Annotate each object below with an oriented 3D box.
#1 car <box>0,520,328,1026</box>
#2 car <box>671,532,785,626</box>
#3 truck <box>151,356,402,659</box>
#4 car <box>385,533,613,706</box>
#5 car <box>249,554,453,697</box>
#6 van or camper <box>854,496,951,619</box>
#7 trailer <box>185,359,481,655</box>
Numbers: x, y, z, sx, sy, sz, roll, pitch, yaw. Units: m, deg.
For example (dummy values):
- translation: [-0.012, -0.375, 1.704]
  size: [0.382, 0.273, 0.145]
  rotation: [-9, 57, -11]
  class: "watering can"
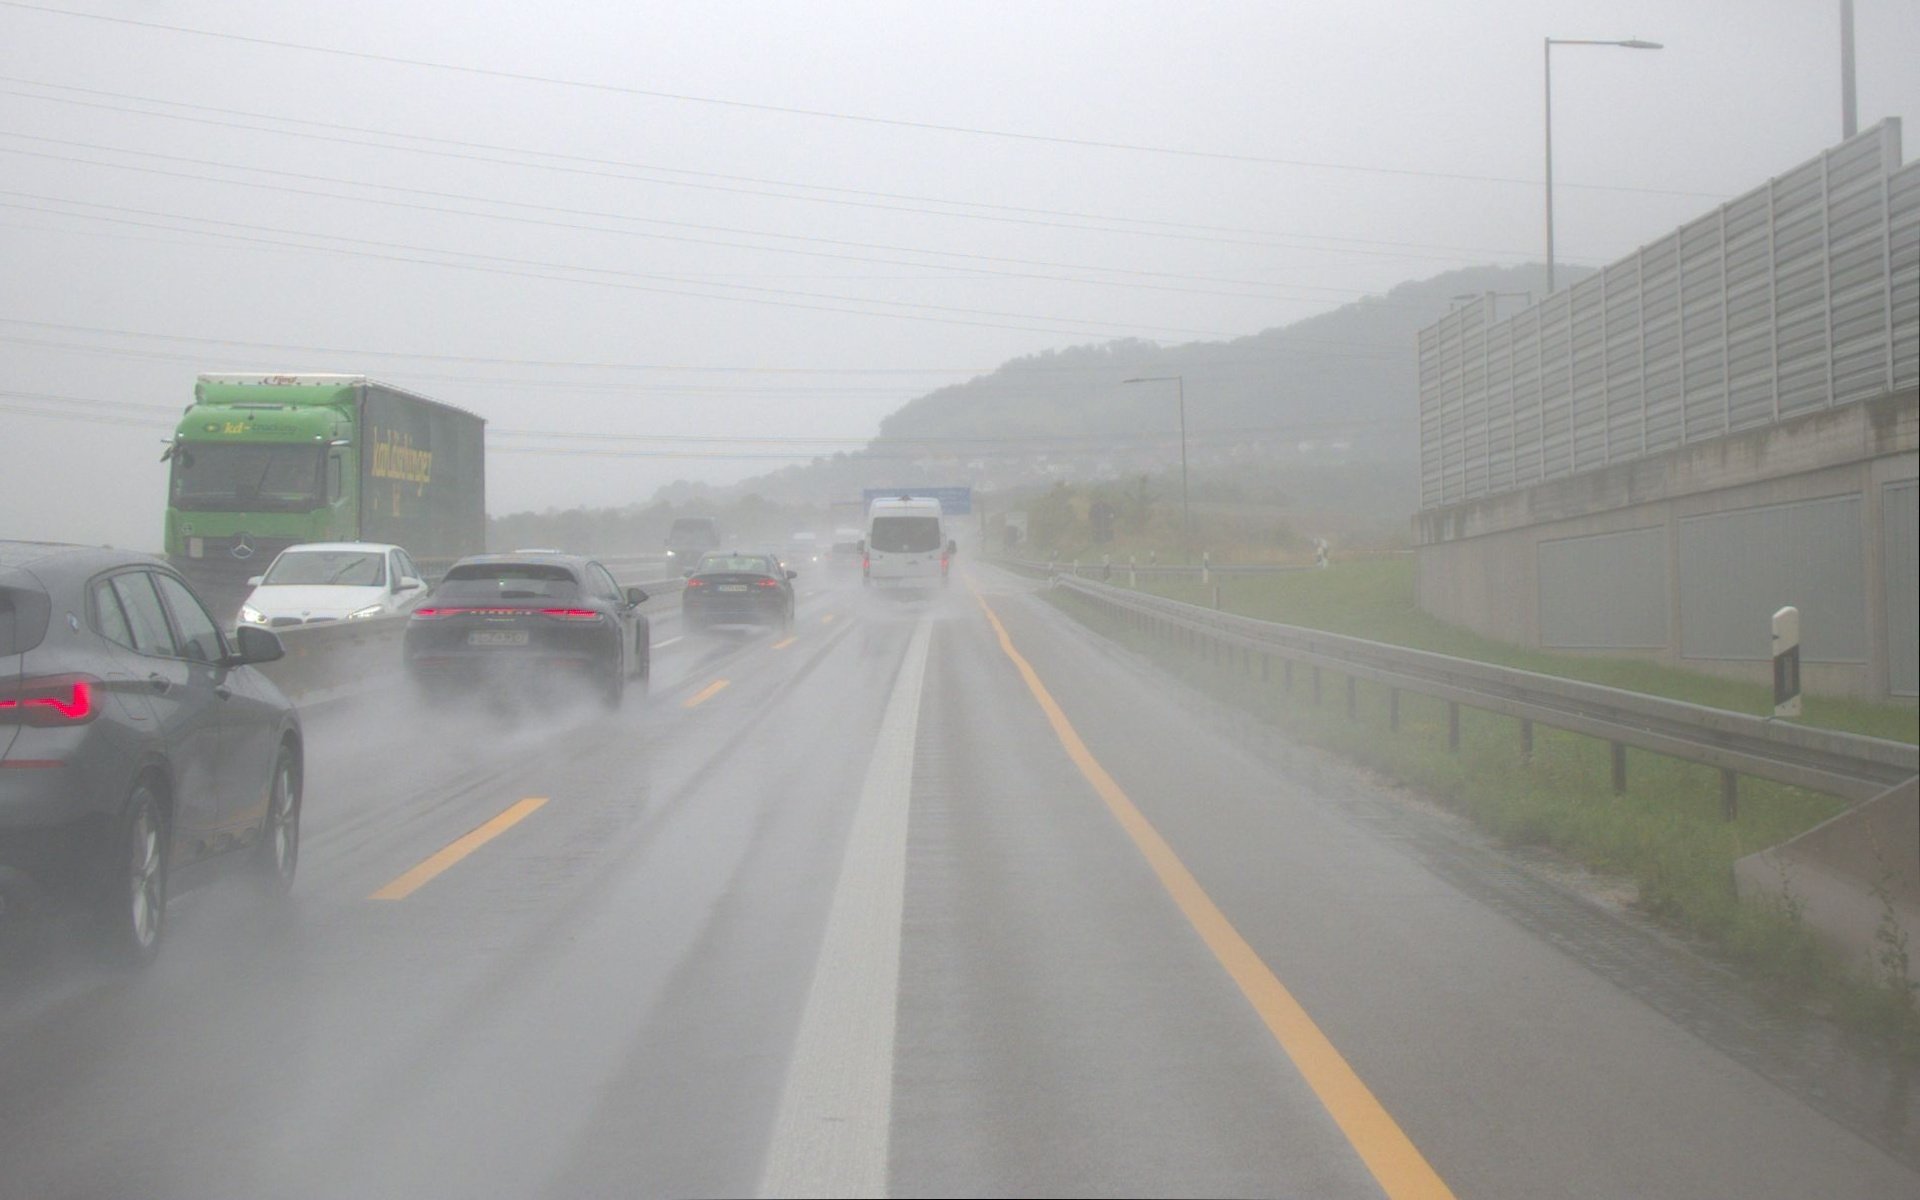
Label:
- translation: [-3.569, 0.556, 13.223]
  size: [1.700, 1.592, 4.846]
  rotation: [1, 0, -4]
  class: "car"
- translation: [-4.030, -0.387, 59.465]
  size: [1.844, 1.486, 4.262]
  rotation: [-2, 1, -4]
  class: "car"
- translation: [-10.433, -1.397, 53.034]
  size: [2.608, 4.373, 6.290]
  rotation: [1, 1, 0]
  class: "truck"
- translation: [-4.236, 0.188, 32.128]
  size: [1.844, 1.486, 4.262]
  rotation: [1, 0, -4]
  class: "car"
- translation: [-7.215, 0.303, 41.061]
  size: [1.701, 1.592, 4.321]
  rotation: [1, 0, -1]
  class: "car"
- translation: [-1.354, -0.950, 79.848]
  size: [1.996, 2.768, 4.050]
  rotation: [1, 0, -4]
  class: "van or camper"
- translation: [-10.447, -1.519, 58.844]
  size: [2.581, 4.442, 13.553]
  rotation: [1, 1, 0]
  class: "trailer"
